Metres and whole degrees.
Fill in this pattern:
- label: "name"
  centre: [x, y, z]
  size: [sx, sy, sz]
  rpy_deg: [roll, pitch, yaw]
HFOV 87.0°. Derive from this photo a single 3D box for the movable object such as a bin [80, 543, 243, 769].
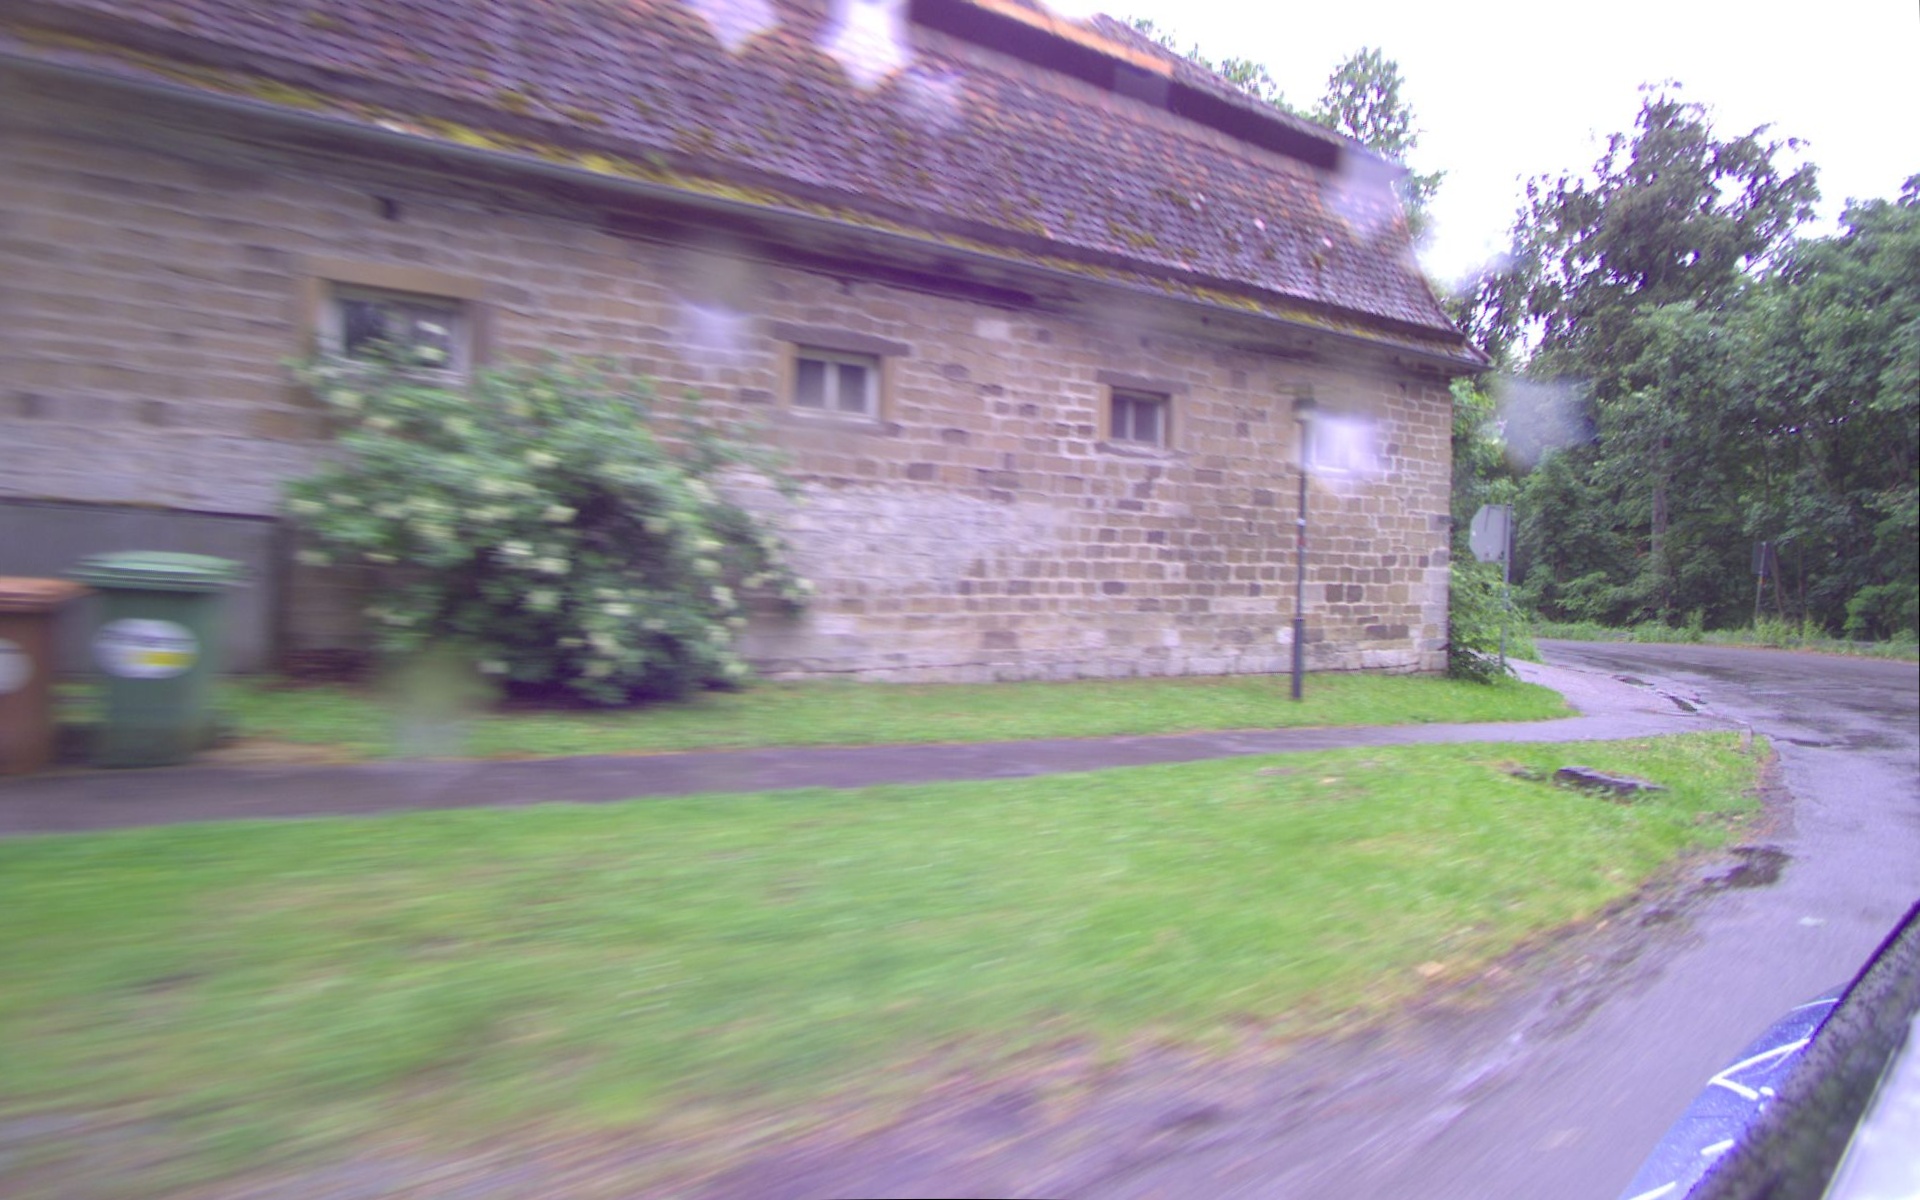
- label: "movable object such as a bin"
  centre: [-4.210, 0.269, 5.380]
  size: [0.564, 1.051, 0.700]
  rpy_deg: [1, 7, -29]
